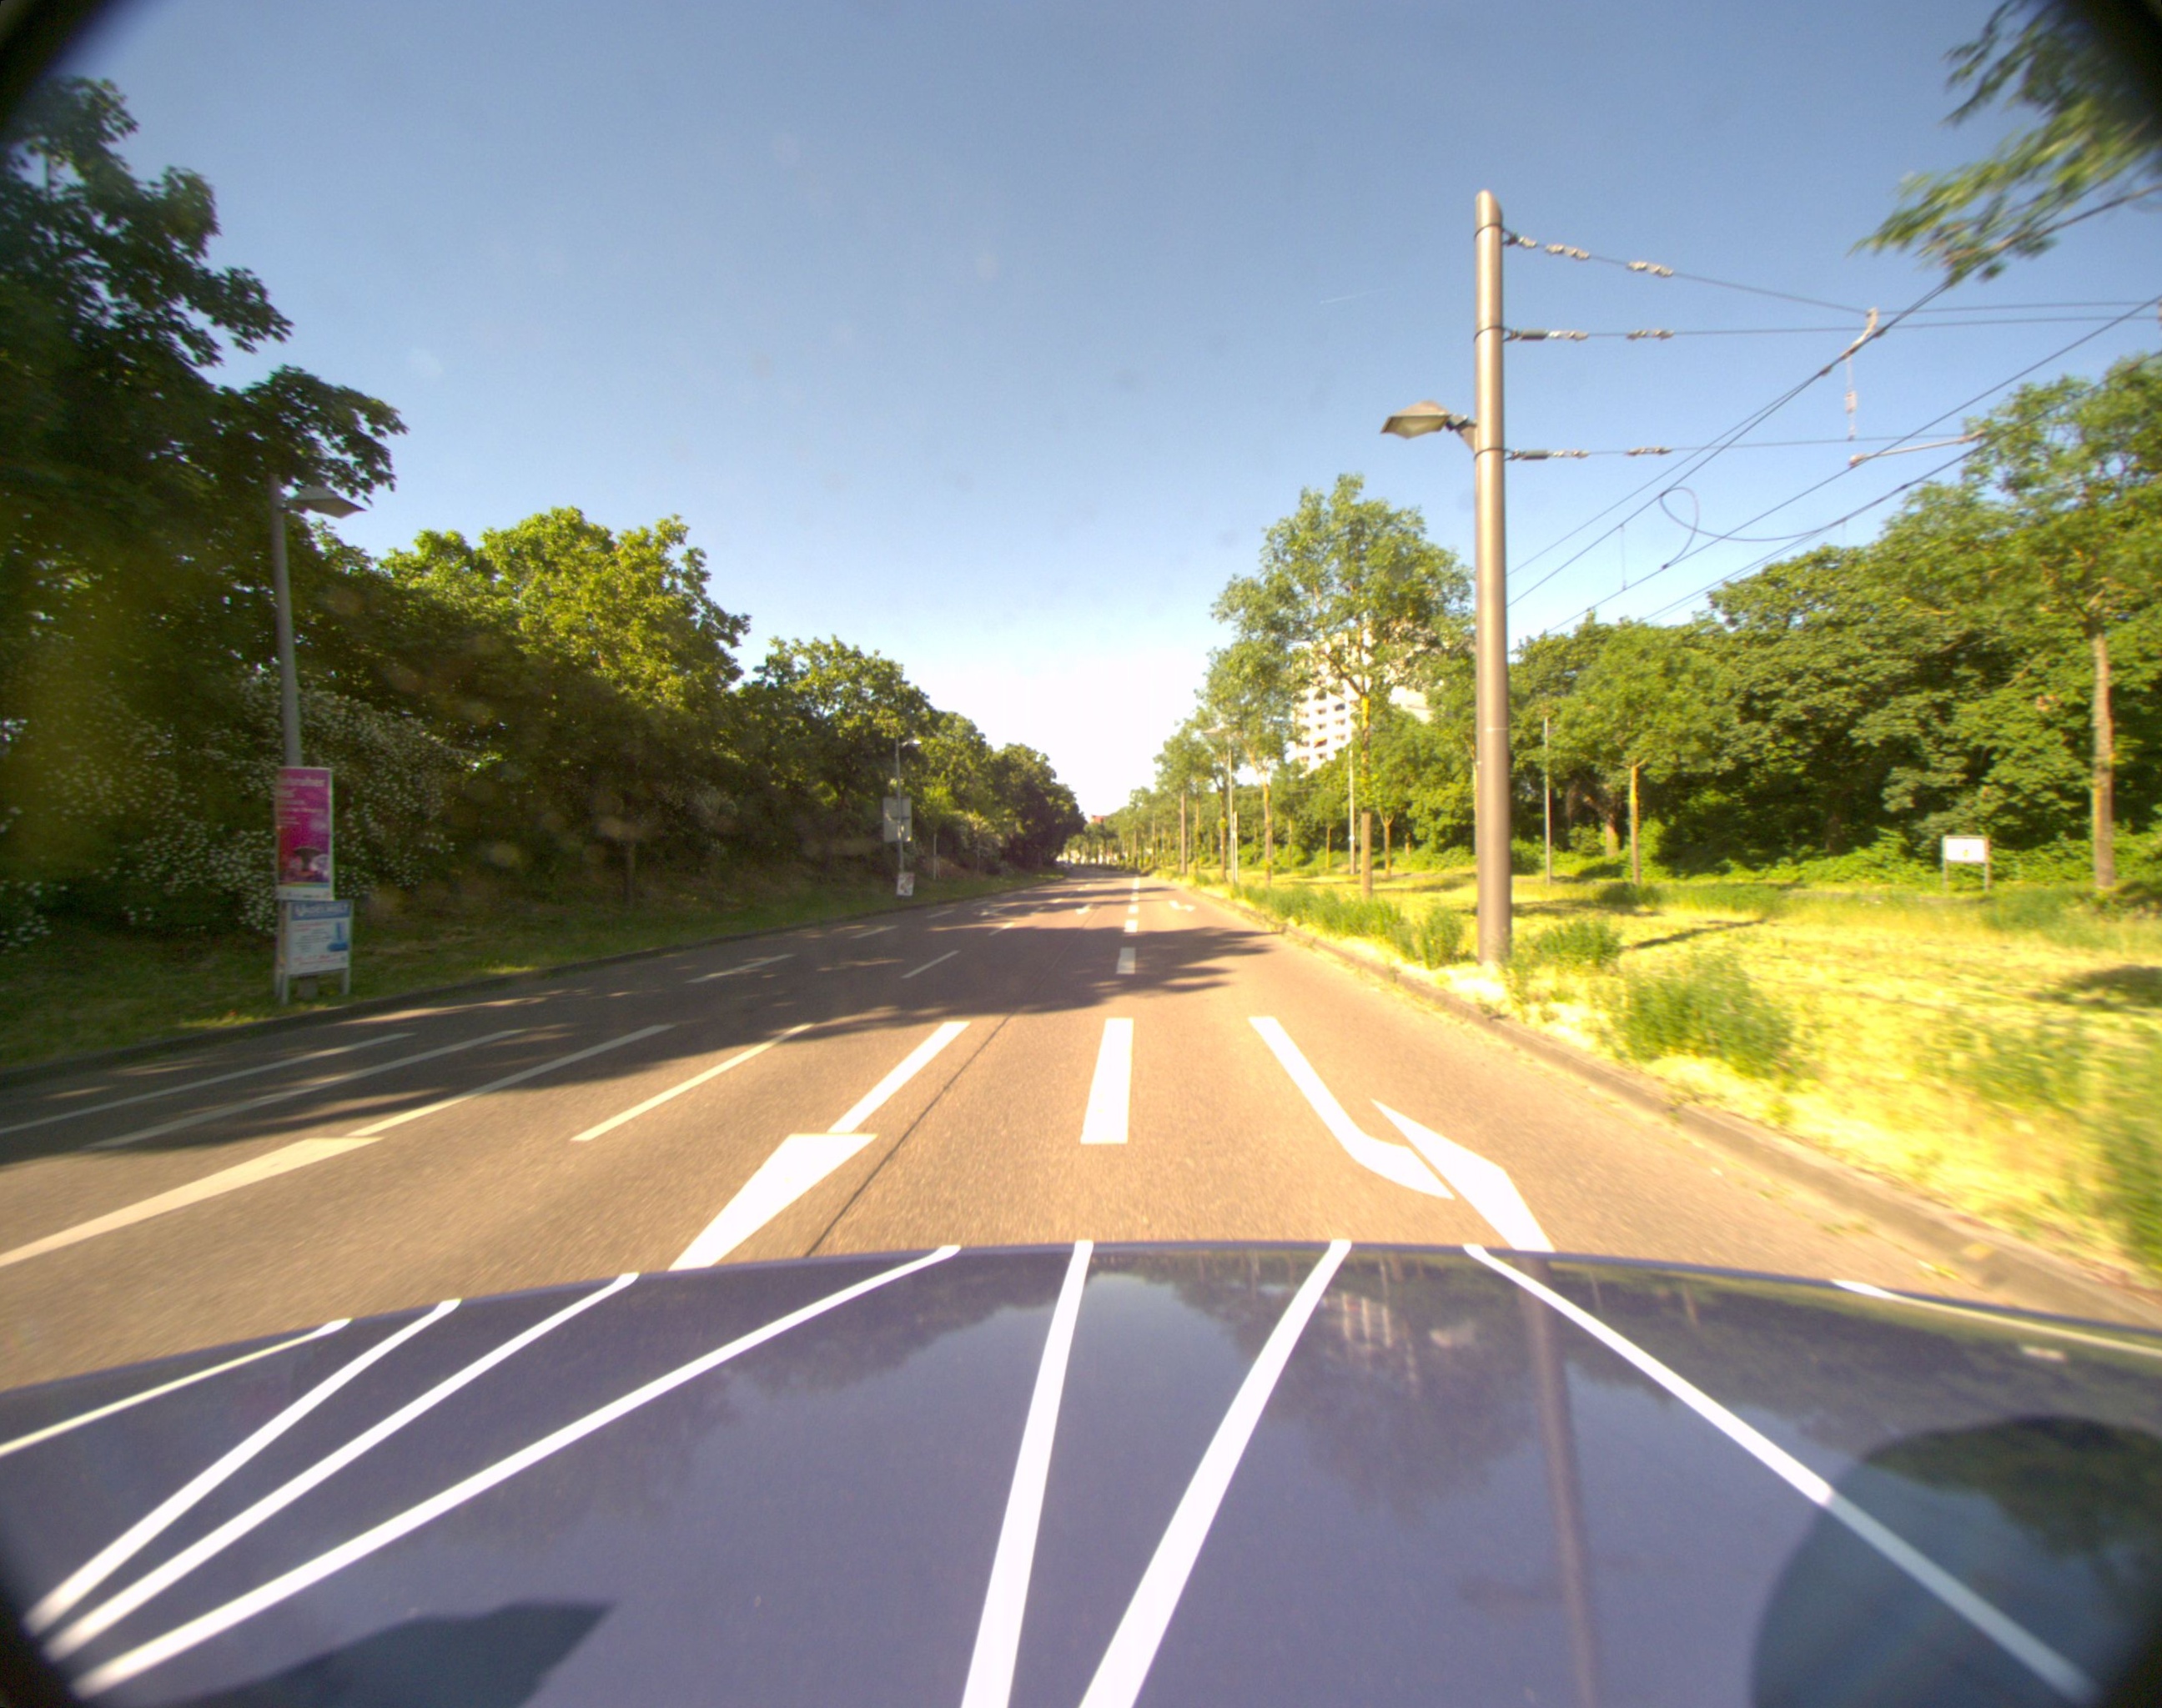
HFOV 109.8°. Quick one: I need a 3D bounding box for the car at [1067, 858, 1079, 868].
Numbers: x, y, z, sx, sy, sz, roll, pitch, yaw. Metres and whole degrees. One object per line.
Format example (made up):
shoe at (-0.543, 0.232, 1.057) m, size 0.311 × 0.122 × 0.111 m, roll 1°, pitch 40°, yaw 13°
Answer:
car at (-1.491, 1.598, 137.738) m, size 1.672 × 1.531 × 4.061 m, roll -4°, pitch 0°, yaw 5°
